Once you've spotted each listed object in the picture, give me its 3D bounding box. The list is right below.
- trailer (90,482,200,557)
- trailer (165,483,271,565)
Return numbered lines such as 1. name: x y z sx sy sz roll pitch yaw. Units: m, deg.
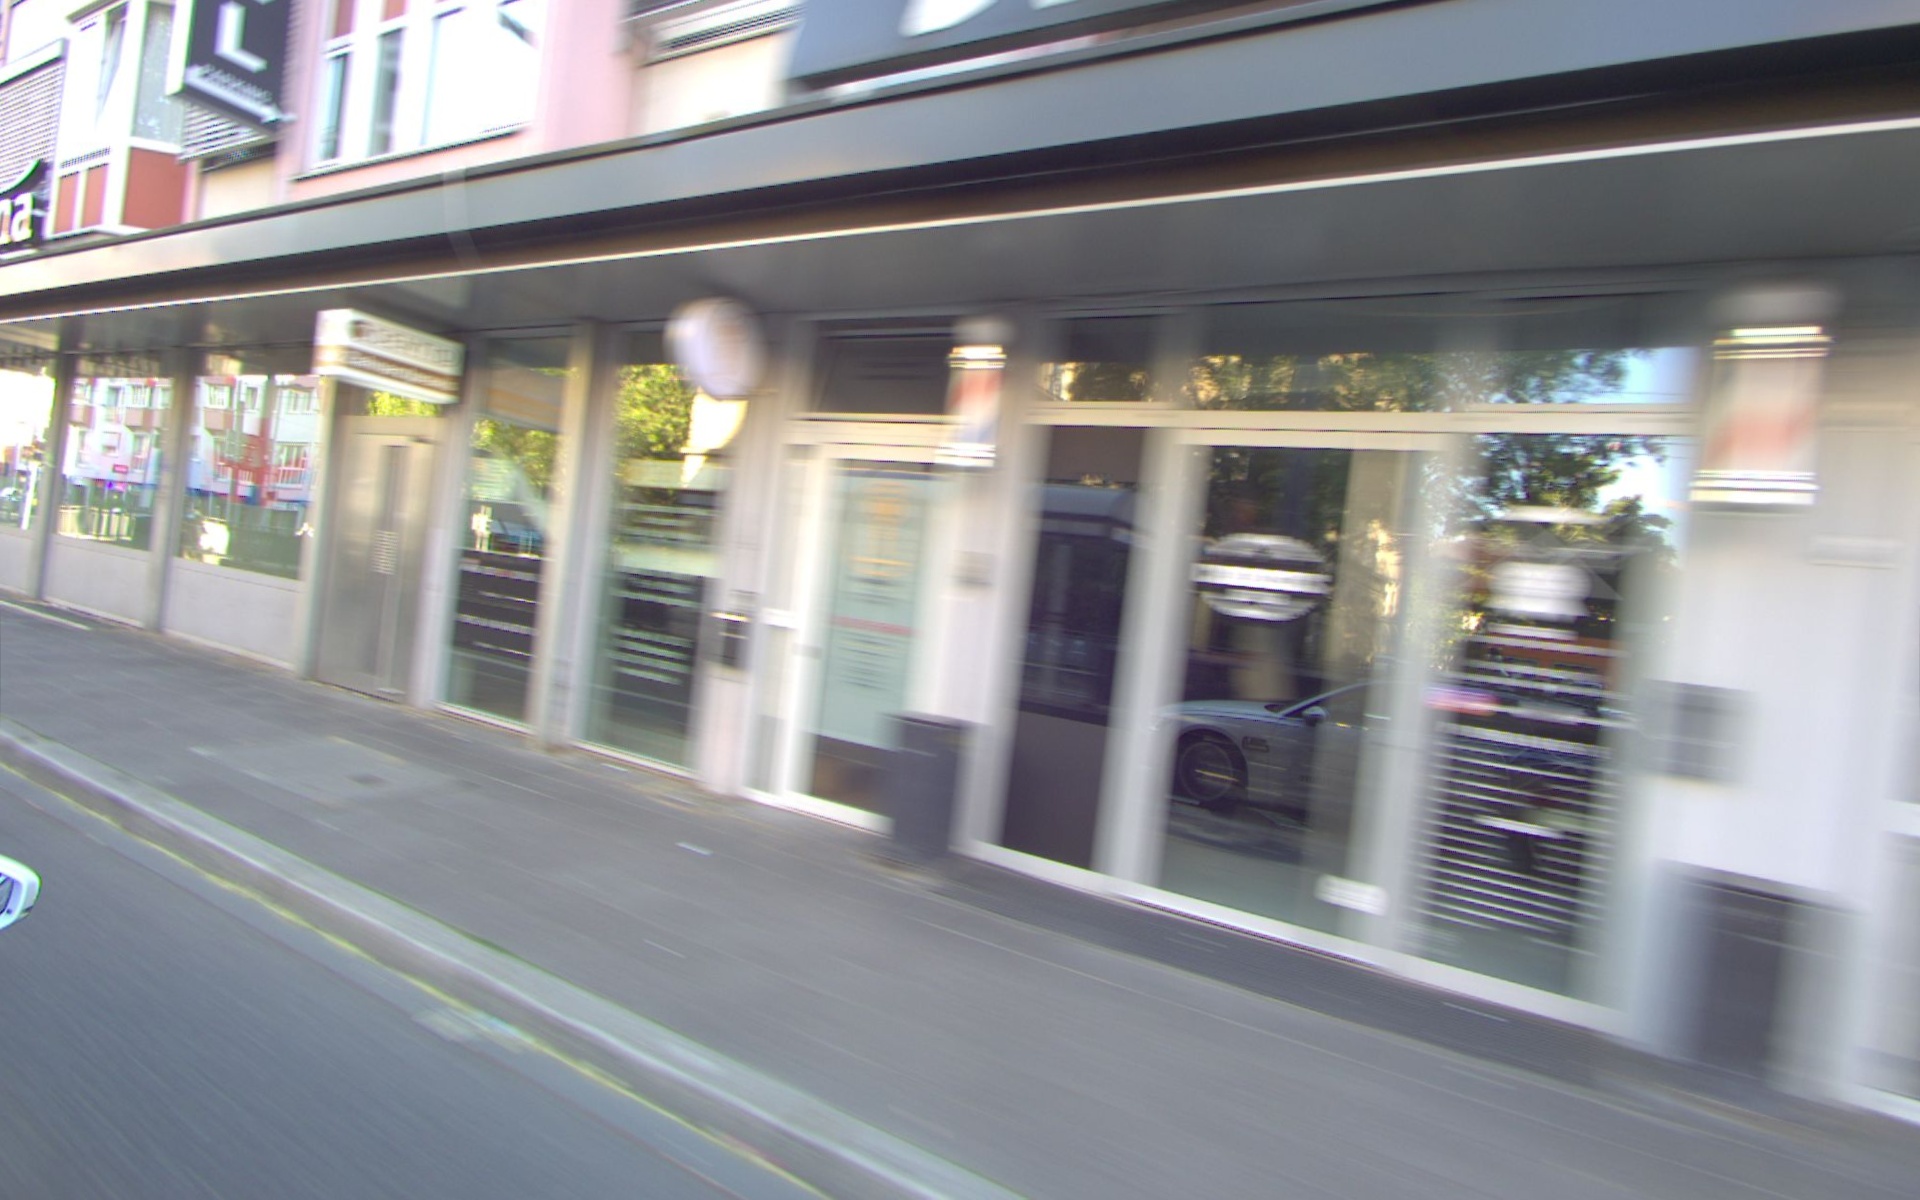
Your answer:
1. trailer: -23.213 -2.300 28.601 3.882 1.754 1.961 6 0 45
2. trailer: -19.712 -2.024 26.691 3.142 1.908 1.572 6 1 42
